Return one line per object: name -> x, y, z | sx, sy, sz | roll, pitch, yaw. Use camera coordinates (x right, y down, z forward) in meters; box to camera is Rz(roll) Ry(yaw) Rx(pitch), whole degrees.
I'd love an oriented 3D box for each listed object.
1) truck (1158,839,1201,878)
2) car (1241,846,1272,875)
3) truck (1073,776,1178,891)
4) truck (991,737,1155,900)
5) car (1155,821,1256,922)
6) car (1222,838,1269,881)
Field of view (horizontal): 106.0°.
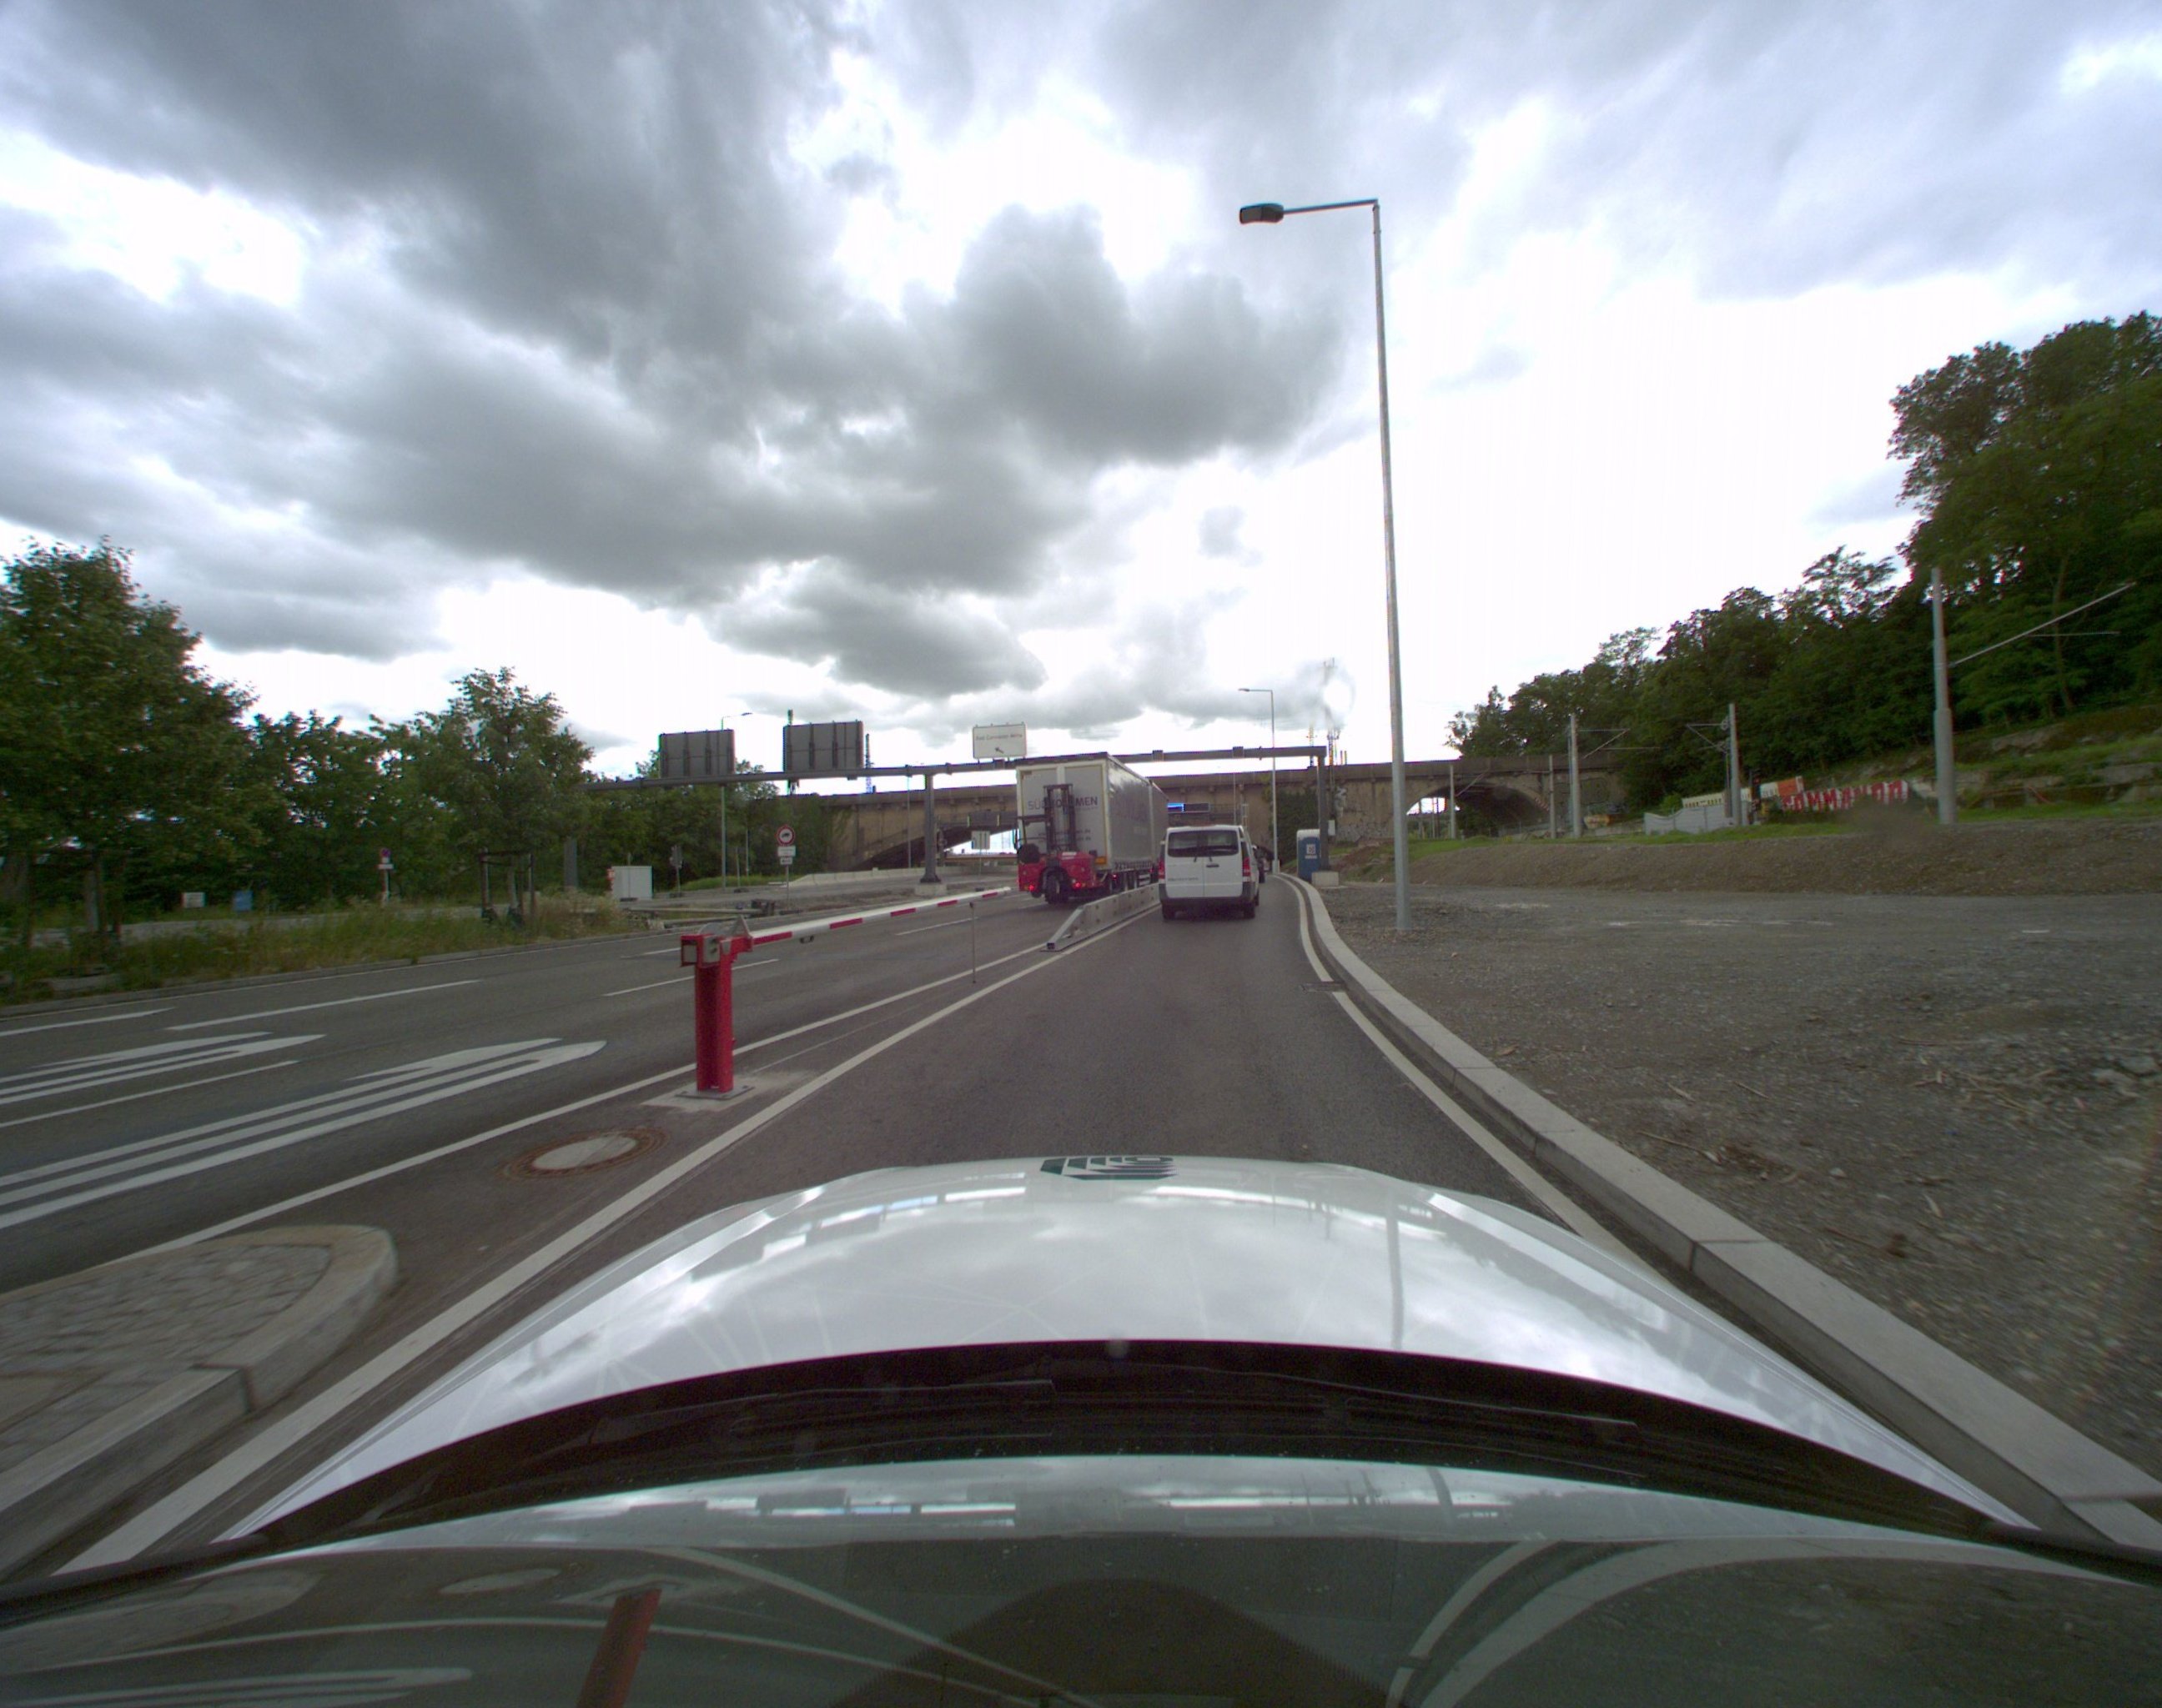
truck -> 10.928, 0.433, 88.563 | 3.295, 3.809, 16.645 | 0, 0, 11
car -> 9.842, 0.373, 45.495 | 1.490, 1.469, 3.412 | -1, -3, 15
truck -> 2.271, -0.695, 35.376 | 2.968, 4.176, 11.275 | -1, -1, 11
truck -> 0.213, -0.753, 25.391 | 2.898, 4.017, 10.233 | -1, -2, 12
car -> 2.875, 0.301, 17.896 | 1.863, 1.891, 4.769 | -1, 1, 12
car -> 6.865, 0.243, 33.927 | 1.738, 1.625, 3.857 | -2, -1, 12
